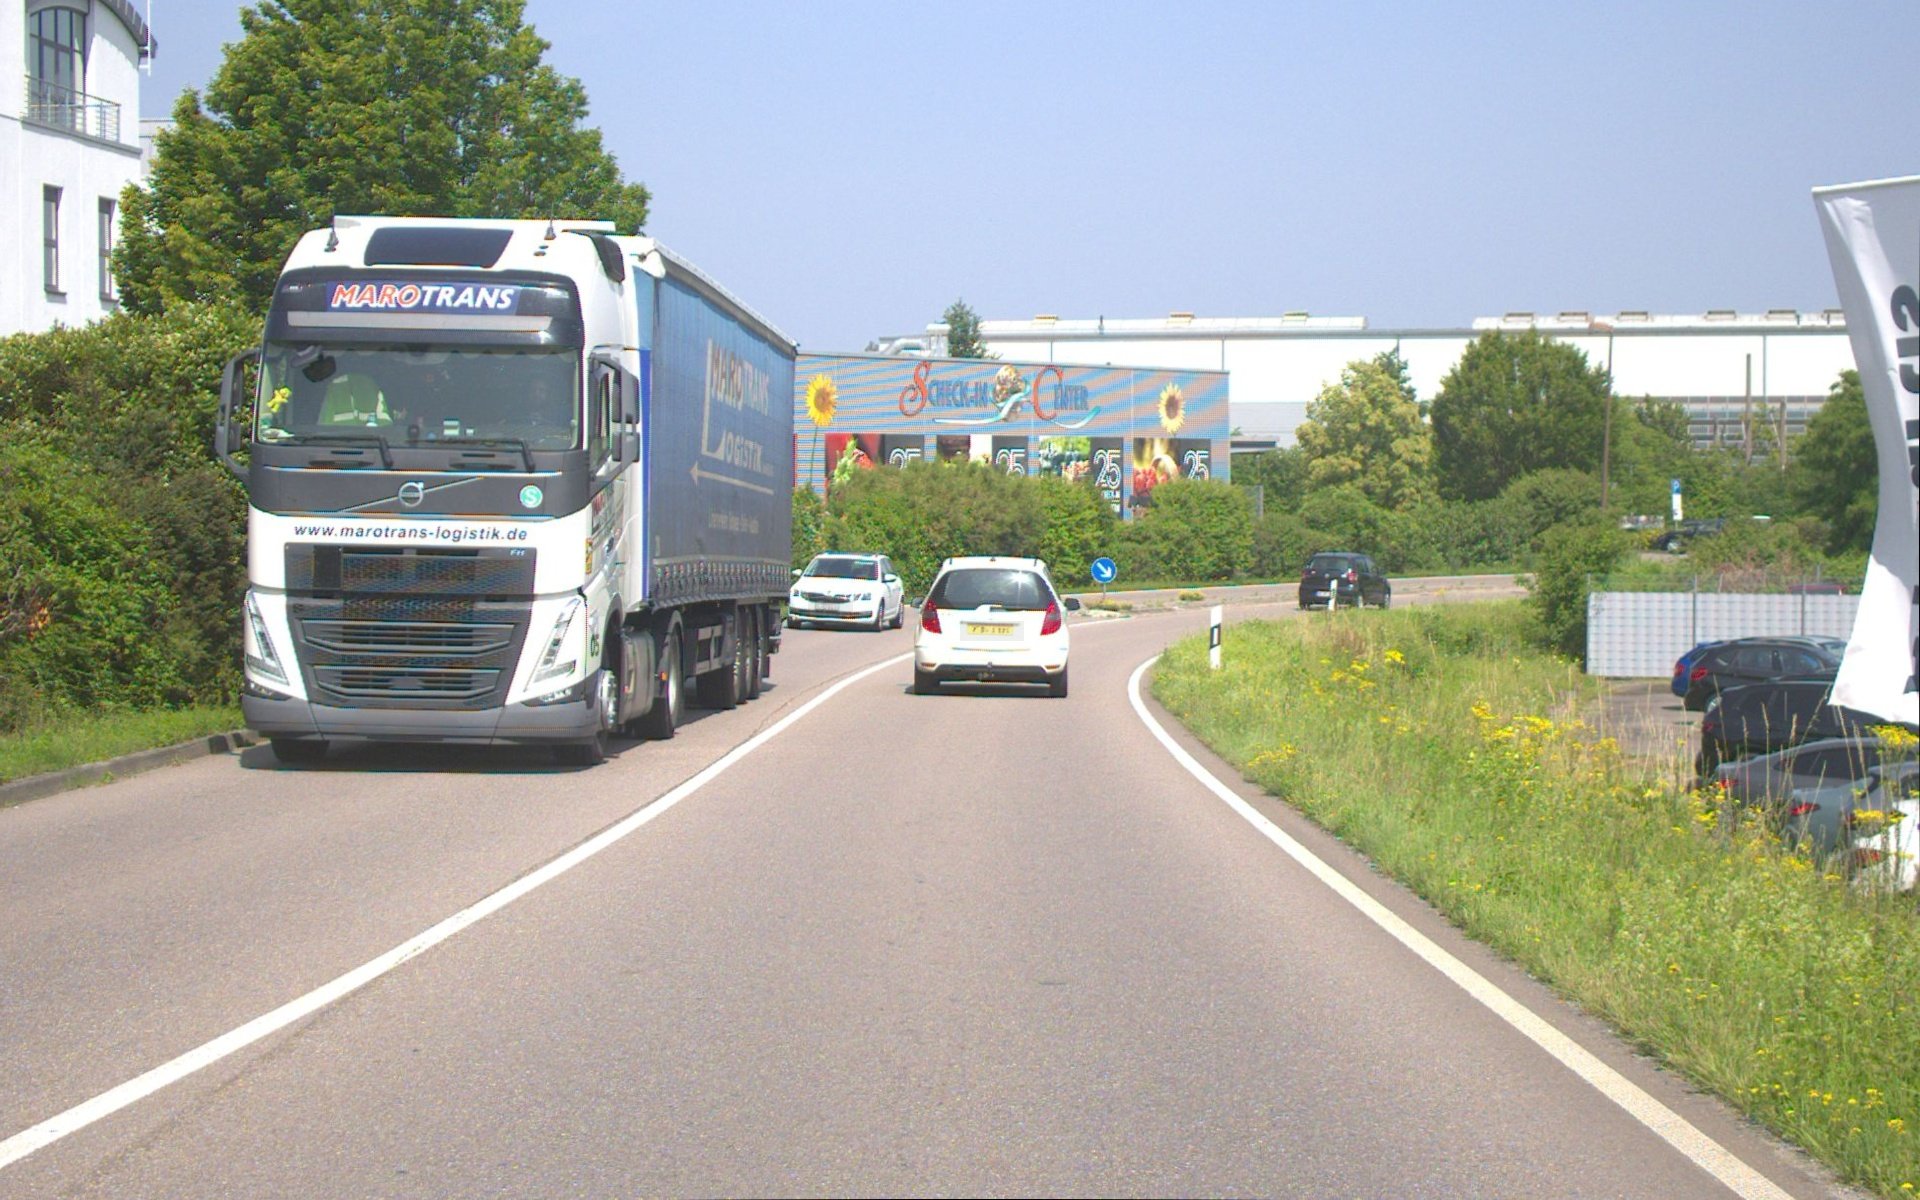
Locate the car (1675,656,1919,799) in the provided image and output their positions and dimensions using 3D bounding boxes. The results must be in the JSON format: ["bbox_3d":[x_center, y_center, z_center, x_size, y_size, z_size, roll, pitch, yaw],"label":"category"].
[{"bbox_3d":[12.345,1.738,47.062,4.637,1.695,1.853,2,3,34],"label":"car"}]

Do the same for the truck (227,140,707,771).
[{"bbox_3d":[-3.566,-1.012,26.343,2.513,4.243,6.112,0,1,3],"label":"truck"}]

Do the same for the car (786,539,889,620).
[{"bbox_3d":[-2.309,-0.408,65.627,1.828,1.465,4.410,1,1,0],"label":"car"}]

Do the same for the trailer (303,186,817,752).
[{"bbox_3d":[-3.341,-1.095,33.325,2.670,4.226,14.565,1,1,2],"label":"trailer"}]

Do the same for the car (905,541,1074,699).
[{"bbox_3d":[0.329,0.194,40.291,1.781,1.597,3.893,4,2,0],"label":"car"}]

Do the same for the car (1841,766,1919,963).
[{"bbox_3d":[9.632,2.274,28.516,4.165,1.518,1.748,1,1,30],"label":"car"}]

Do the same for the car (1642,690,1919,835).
[{"bbox_3d":[10.780,1.957,41.444,4.637,1.518,1.853,2,1,32],"label":"car"}]

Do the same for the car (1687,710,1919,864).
[{"bbox_3d":[10.433,2.093,38.345,4.165,1.518,1.853,1,1,30],"label":"car"}]

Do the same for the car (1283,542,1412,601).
[{"bbox_3d":[10.198,-0.744,90.278,1.831,1.465,4.403,1,1,28],"label":"car"}]

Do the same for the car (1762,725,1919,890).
[{"bbox_3d":[10.471,2.143,34.886,4.165,1.518,1.853,1,1,30],"label":"car"}]

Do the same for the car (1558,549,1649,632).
[{"bbox_3d":[16.342,-0.251,87.150,1.995,2.007,3.997,1,1,14],"label":"car"}]

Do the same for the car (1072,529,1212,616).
[{"bbox_3d":[4.349,-0.657,81.747,1.996,2.007,3.995,1,1,24],"label":"car"}]

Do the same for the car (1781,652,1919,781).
[{"bbox_3d":[14.408,1.731,50.317,4.231,1.695,1.915,2,3,38],"label":"car"}]

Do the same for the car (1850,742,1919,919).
[{"bbox_3d":[10.468,2.178,31.414,4.165,1.518,1.853,1,1,29],"label":"car"}]

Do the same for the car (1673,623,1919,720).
[{"bbox_3d":[15.860,1.313,64.210,4.636,1.599,1.853,1,1,29],"label":"car"}]

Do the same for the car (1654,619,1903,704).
[{"bbox_3d":[16.795,1.239,70.628,4.637,1.493,1.853,2,3,32],"label":"car"}]
